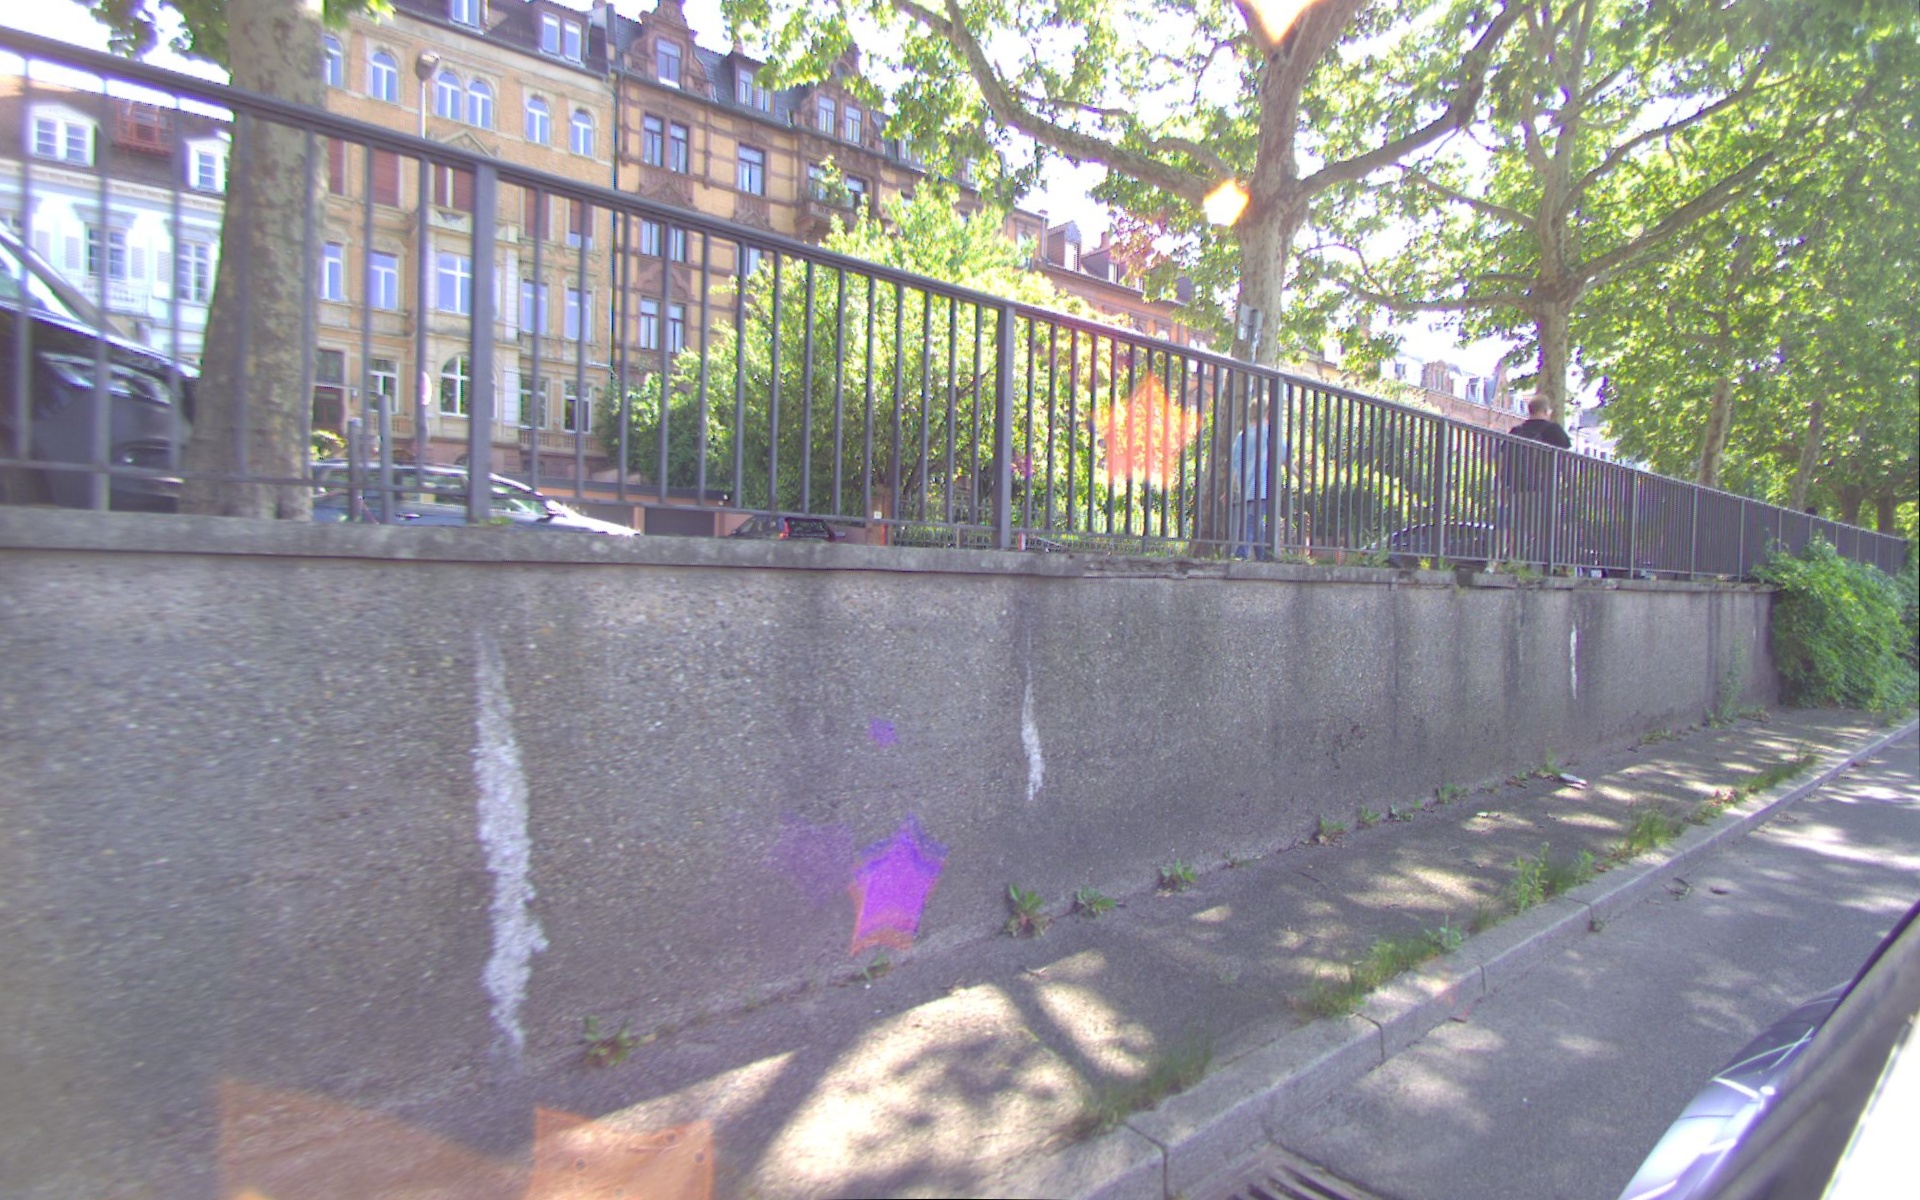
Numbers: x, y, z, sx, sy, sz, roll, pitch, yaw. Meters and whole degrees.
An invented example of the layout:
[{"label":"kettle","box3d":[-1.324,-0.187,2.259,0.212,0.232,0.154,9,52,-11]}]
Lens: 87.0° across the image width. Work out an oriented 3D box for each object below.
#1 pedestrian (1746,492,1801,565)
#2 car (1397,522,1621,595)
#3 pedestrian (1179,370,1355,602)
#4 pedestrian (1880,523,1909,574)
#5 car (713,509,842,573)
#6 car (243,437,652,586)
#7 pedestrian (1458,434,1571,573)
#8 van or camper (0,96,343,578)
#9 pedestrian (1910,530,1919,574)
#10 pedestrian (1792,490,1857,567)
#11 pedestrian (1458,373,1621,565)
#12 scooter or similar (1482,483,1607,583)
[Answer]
[{"label":"pedestrian","box3d":[15.972,-1.400,19.870,0.781,1.382,0.645,0,4,-42]},{"label":"car","box3d":[10.582,-0.851,19.759,1.484,1.250,3.541,1,4,-30]},{"label":"pedestrian","box3d":[2.092,-0.736,6.884,0.933,1.442,0.682,0,4,-41]},{"label":"pedestrian","box3d":[30.829,-1.692,33.396,0.646,1.660,0.617,2,1,42]},{"label":"car","box3d":[-4.975,-1.545,27.287,1.759,1.556,3.793,1,1,-40]},{"label":"car","box3d":[-6.393,-1.015,12.874,4.349,1.531,1.842,0,3,-39]},{"label":"pedestrian","box3d":[5.911,-1.004,10.779,0.972,1.382,0.682,0,4,-41]},{"label":"van or camper","box3d":[-7.750,-1.232,5.429,7.205,2.212,2.349,-1,-1,-11]},{"label":"pedestrian","box3d":[31.416,-1.553,32.985,0.584,1.437,0.580,2,1,42]},{"label":"pedestrian","box3d":[16.278,-1.346,19.053,0.800,1.382,0.754,0,4,-42]},{"label":"pedestrian","box3d":[5.302,-1.154,9.263,1.010,1.598,0.938,0,4,-42]},{"label":"scooter or similar","box3d":[6.553,-0.746,11.345,1.088,1.038,0.857,0,4,-41]}]
